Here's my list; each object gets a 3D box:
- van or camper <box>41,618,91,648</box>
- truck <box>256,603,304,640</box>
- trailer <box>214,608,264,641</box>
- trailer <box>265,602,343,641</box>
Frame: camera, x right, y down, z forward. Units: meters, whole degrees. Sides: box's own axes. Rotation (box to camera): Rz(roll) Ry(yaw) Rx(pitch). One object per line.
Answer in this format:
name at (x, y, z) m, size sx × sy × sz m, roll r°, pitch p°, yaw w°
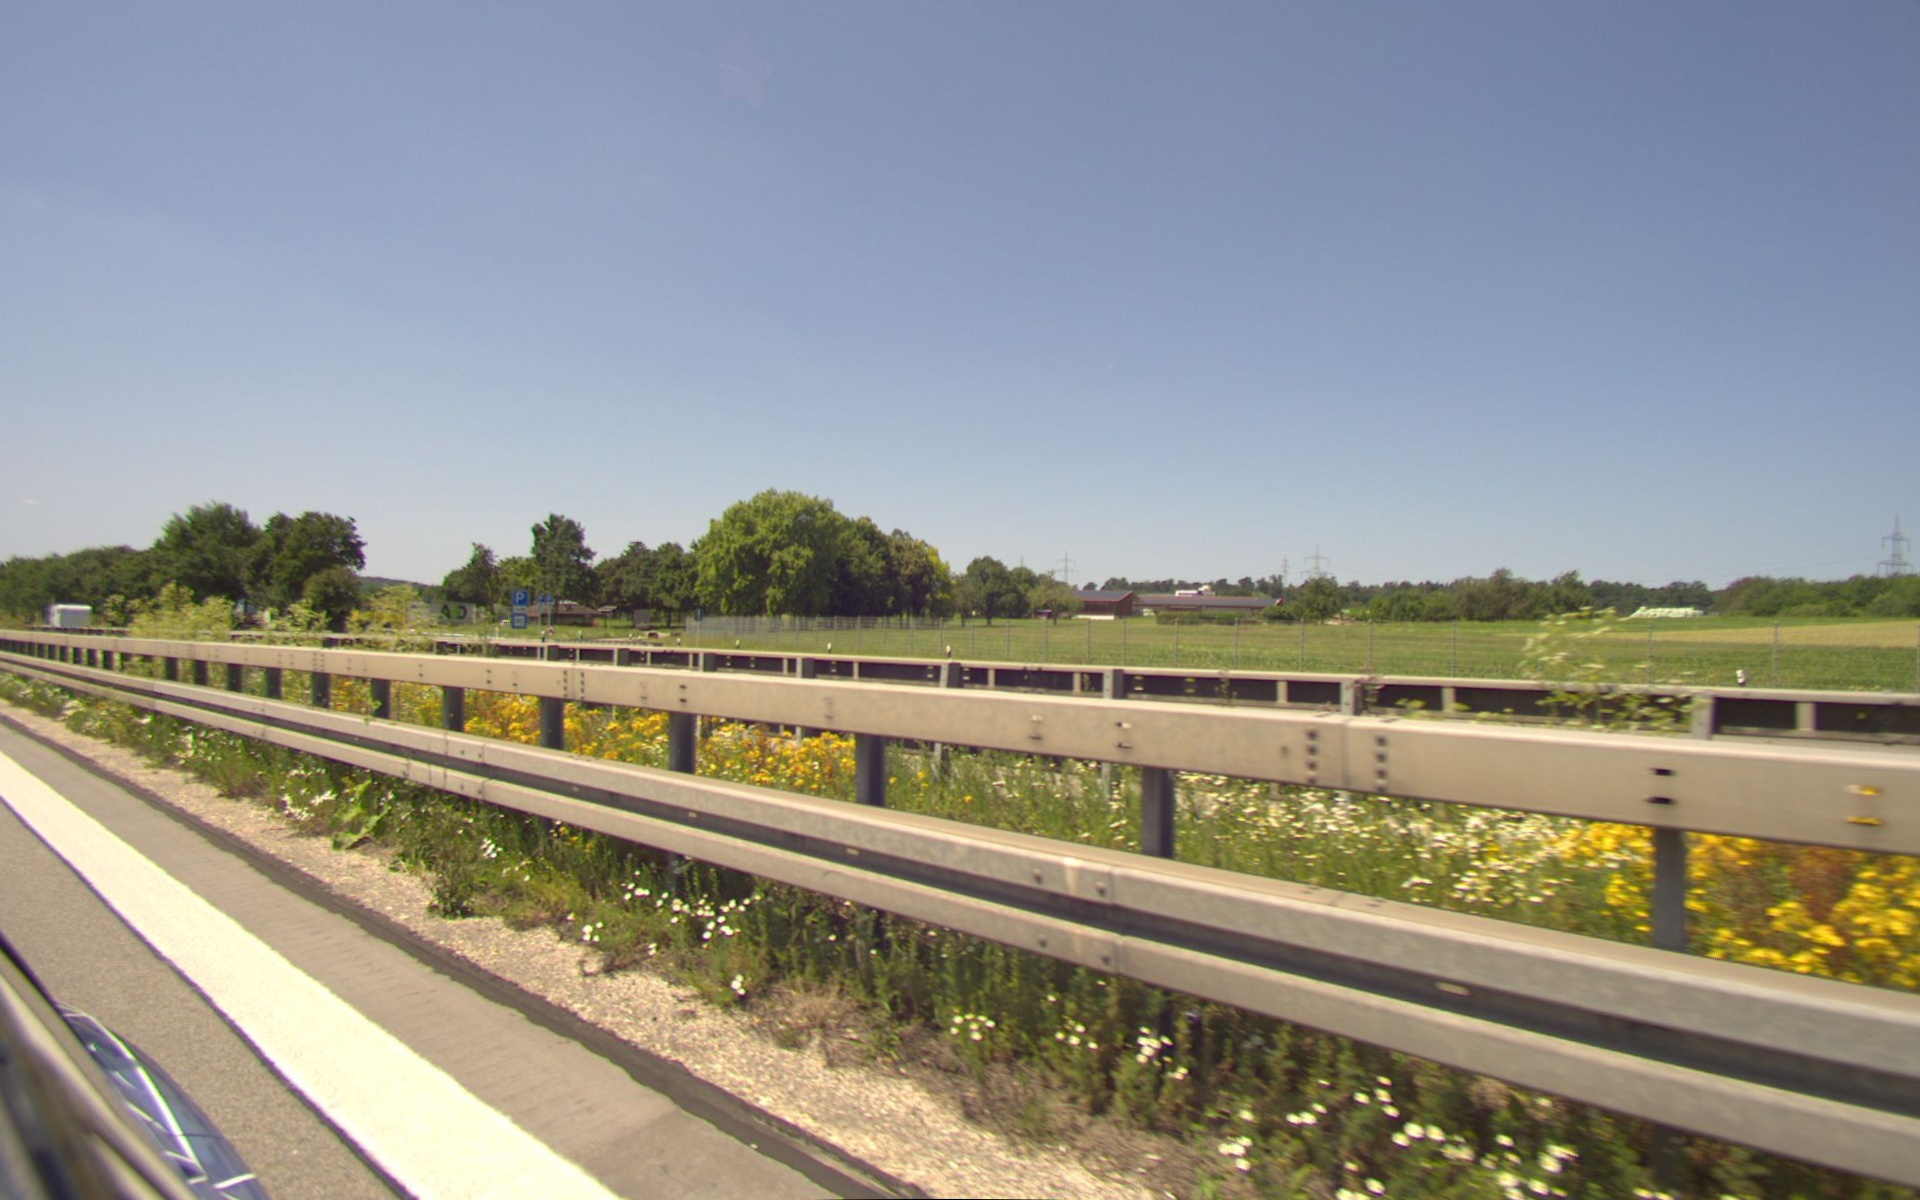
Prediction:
van or camper at (-82.003, 2.987, 92.775) m, size 6.705 × 2.555 × 2.510 m, roll 0°, pitch -1°, yaw 40°
truck at (-74.074, 2.305, 110.159) m, size 6.095 × 3.811 × 2.768 m, roll -1°, pitch 0°, yaw 40°
trailer at (-84.377, 2.788, 118.353) m, size 8.703 × 3.689 × 2.520 m, roll -1°, pitch 0°, yaw 39°
trailer at (-68.382, 2.221, 105.268) m, size 14.401 × 3.807 × 2.740 m, roll -1°, pitch 0°, yaw 41°
